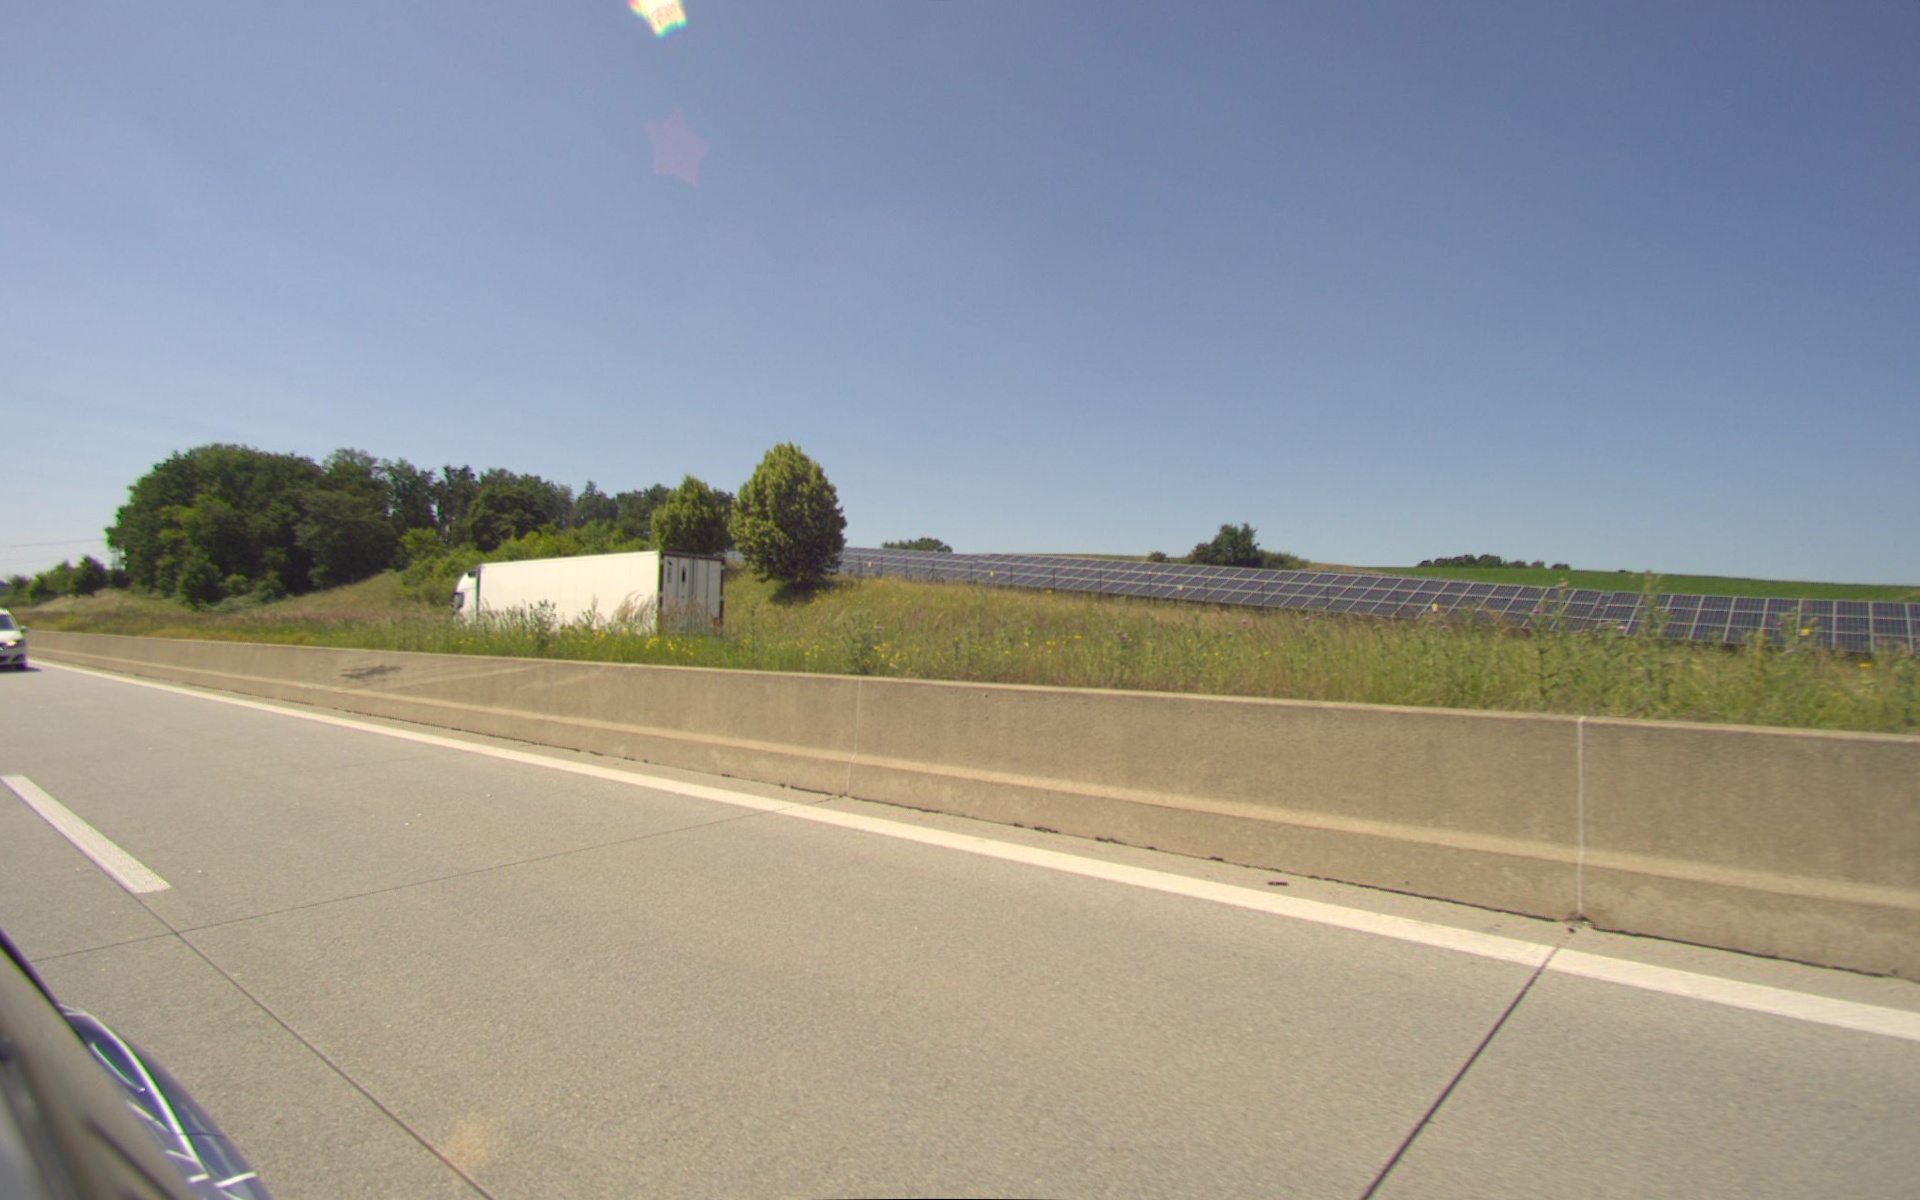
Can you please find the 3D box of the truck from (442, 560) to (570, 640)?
[{"bbox_3d":[-19.357,-0.003,43.060,5.824,3.181,2.803,-1,0,41],"label":"truck"}]

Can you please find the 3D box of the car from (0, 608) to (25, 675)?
[{"bbox_3d":[-27.311,1.105,27.738,6.033,1.721,1.826,0,0,41],"label":"car"}]

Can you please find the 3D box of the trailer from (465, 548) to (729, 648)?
[{"bbox_3d":[-14.331,-0.044,38.606,14.500,3.207,2.803,0,1,42],"label":"trailer"}]
